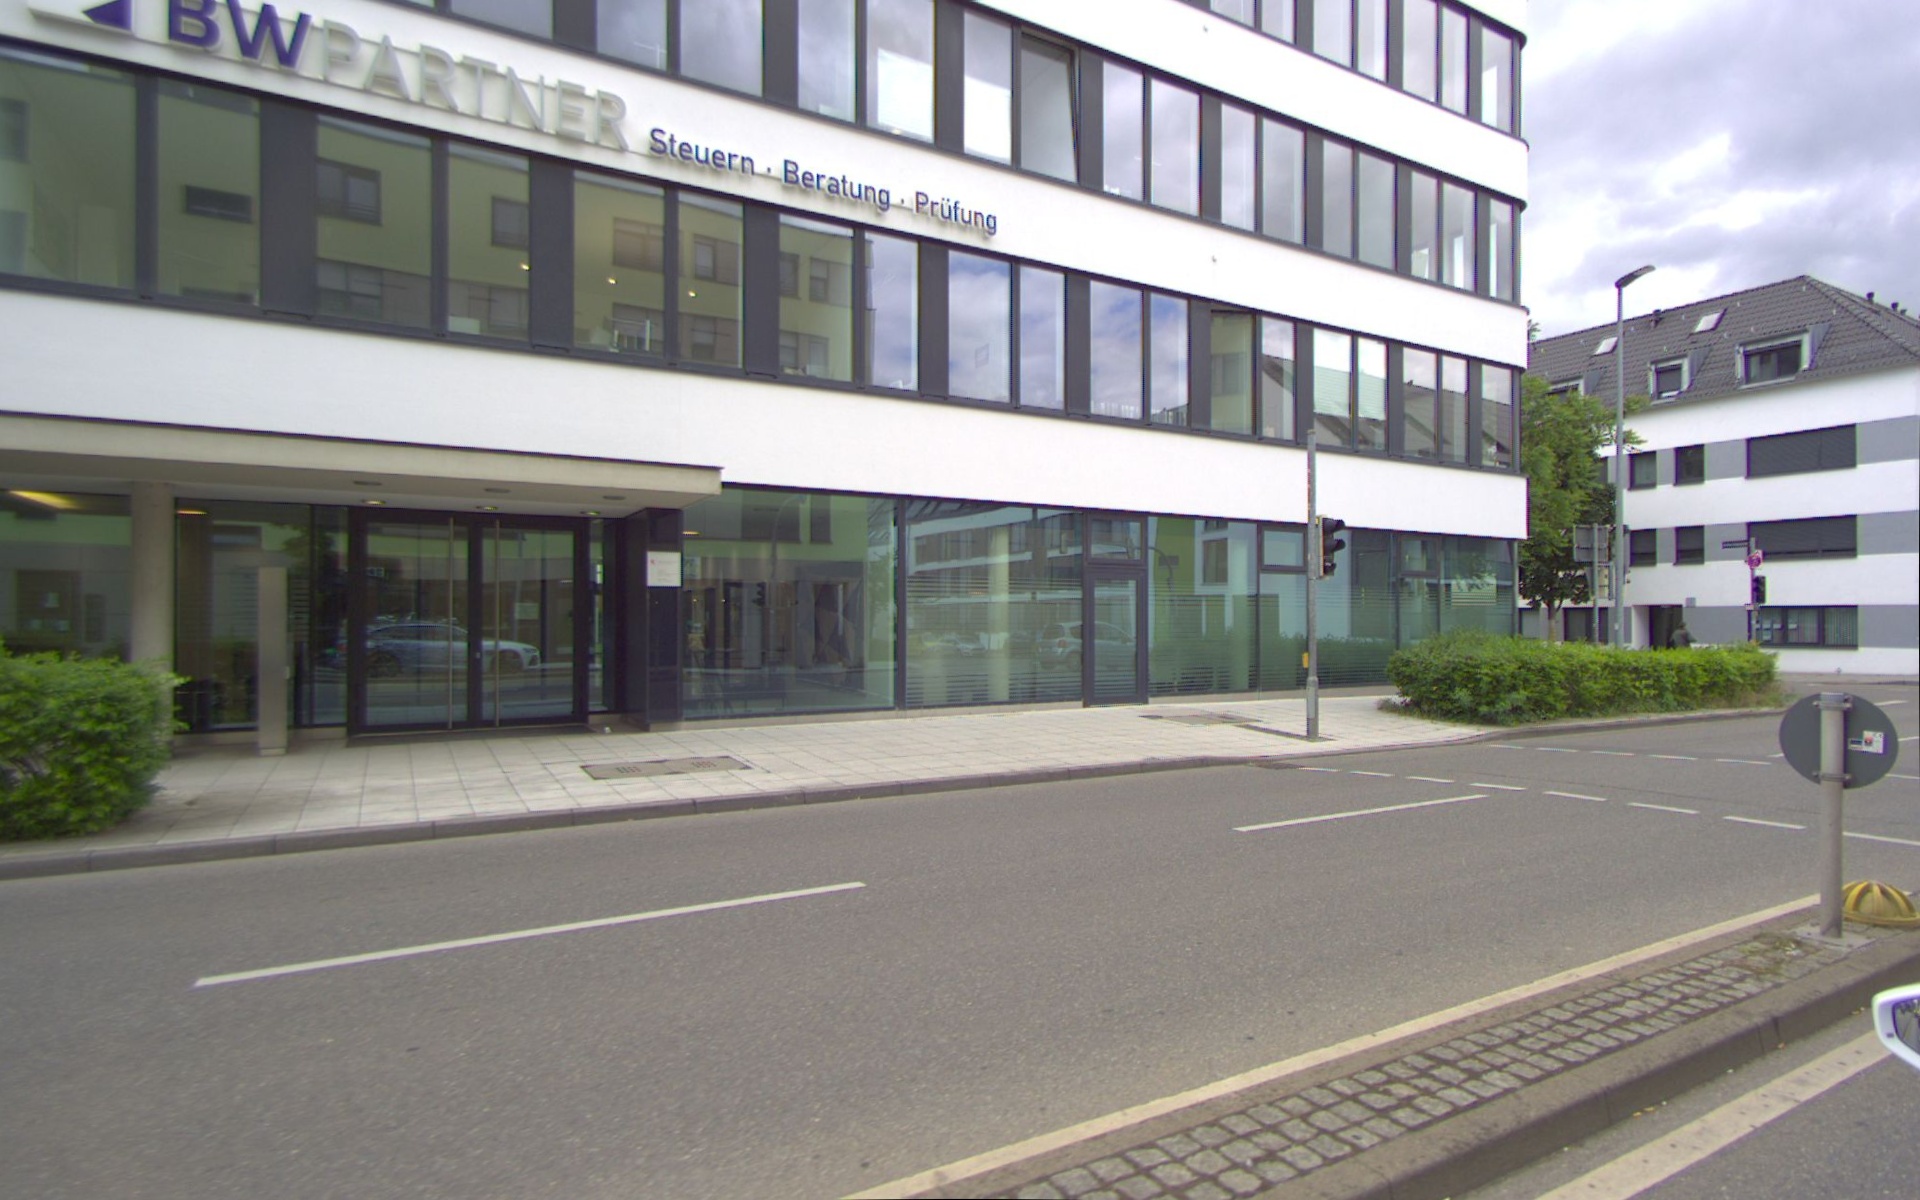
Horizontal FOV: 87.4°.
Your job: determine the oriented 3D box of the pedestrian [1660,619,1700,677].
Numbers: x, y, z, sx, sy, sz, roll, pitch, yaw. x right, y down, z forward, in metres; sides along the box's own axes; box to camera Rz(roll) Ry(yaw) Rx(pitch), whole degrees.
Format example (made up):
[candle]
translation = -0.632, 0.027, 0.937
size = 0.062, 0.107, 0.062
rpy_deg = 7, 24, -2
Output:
[pedestrian]
translation = 21.587, 1.435, 30.131
size = 0.869, 1.692, 0.812
rpy_deg = -2, 1, 32
